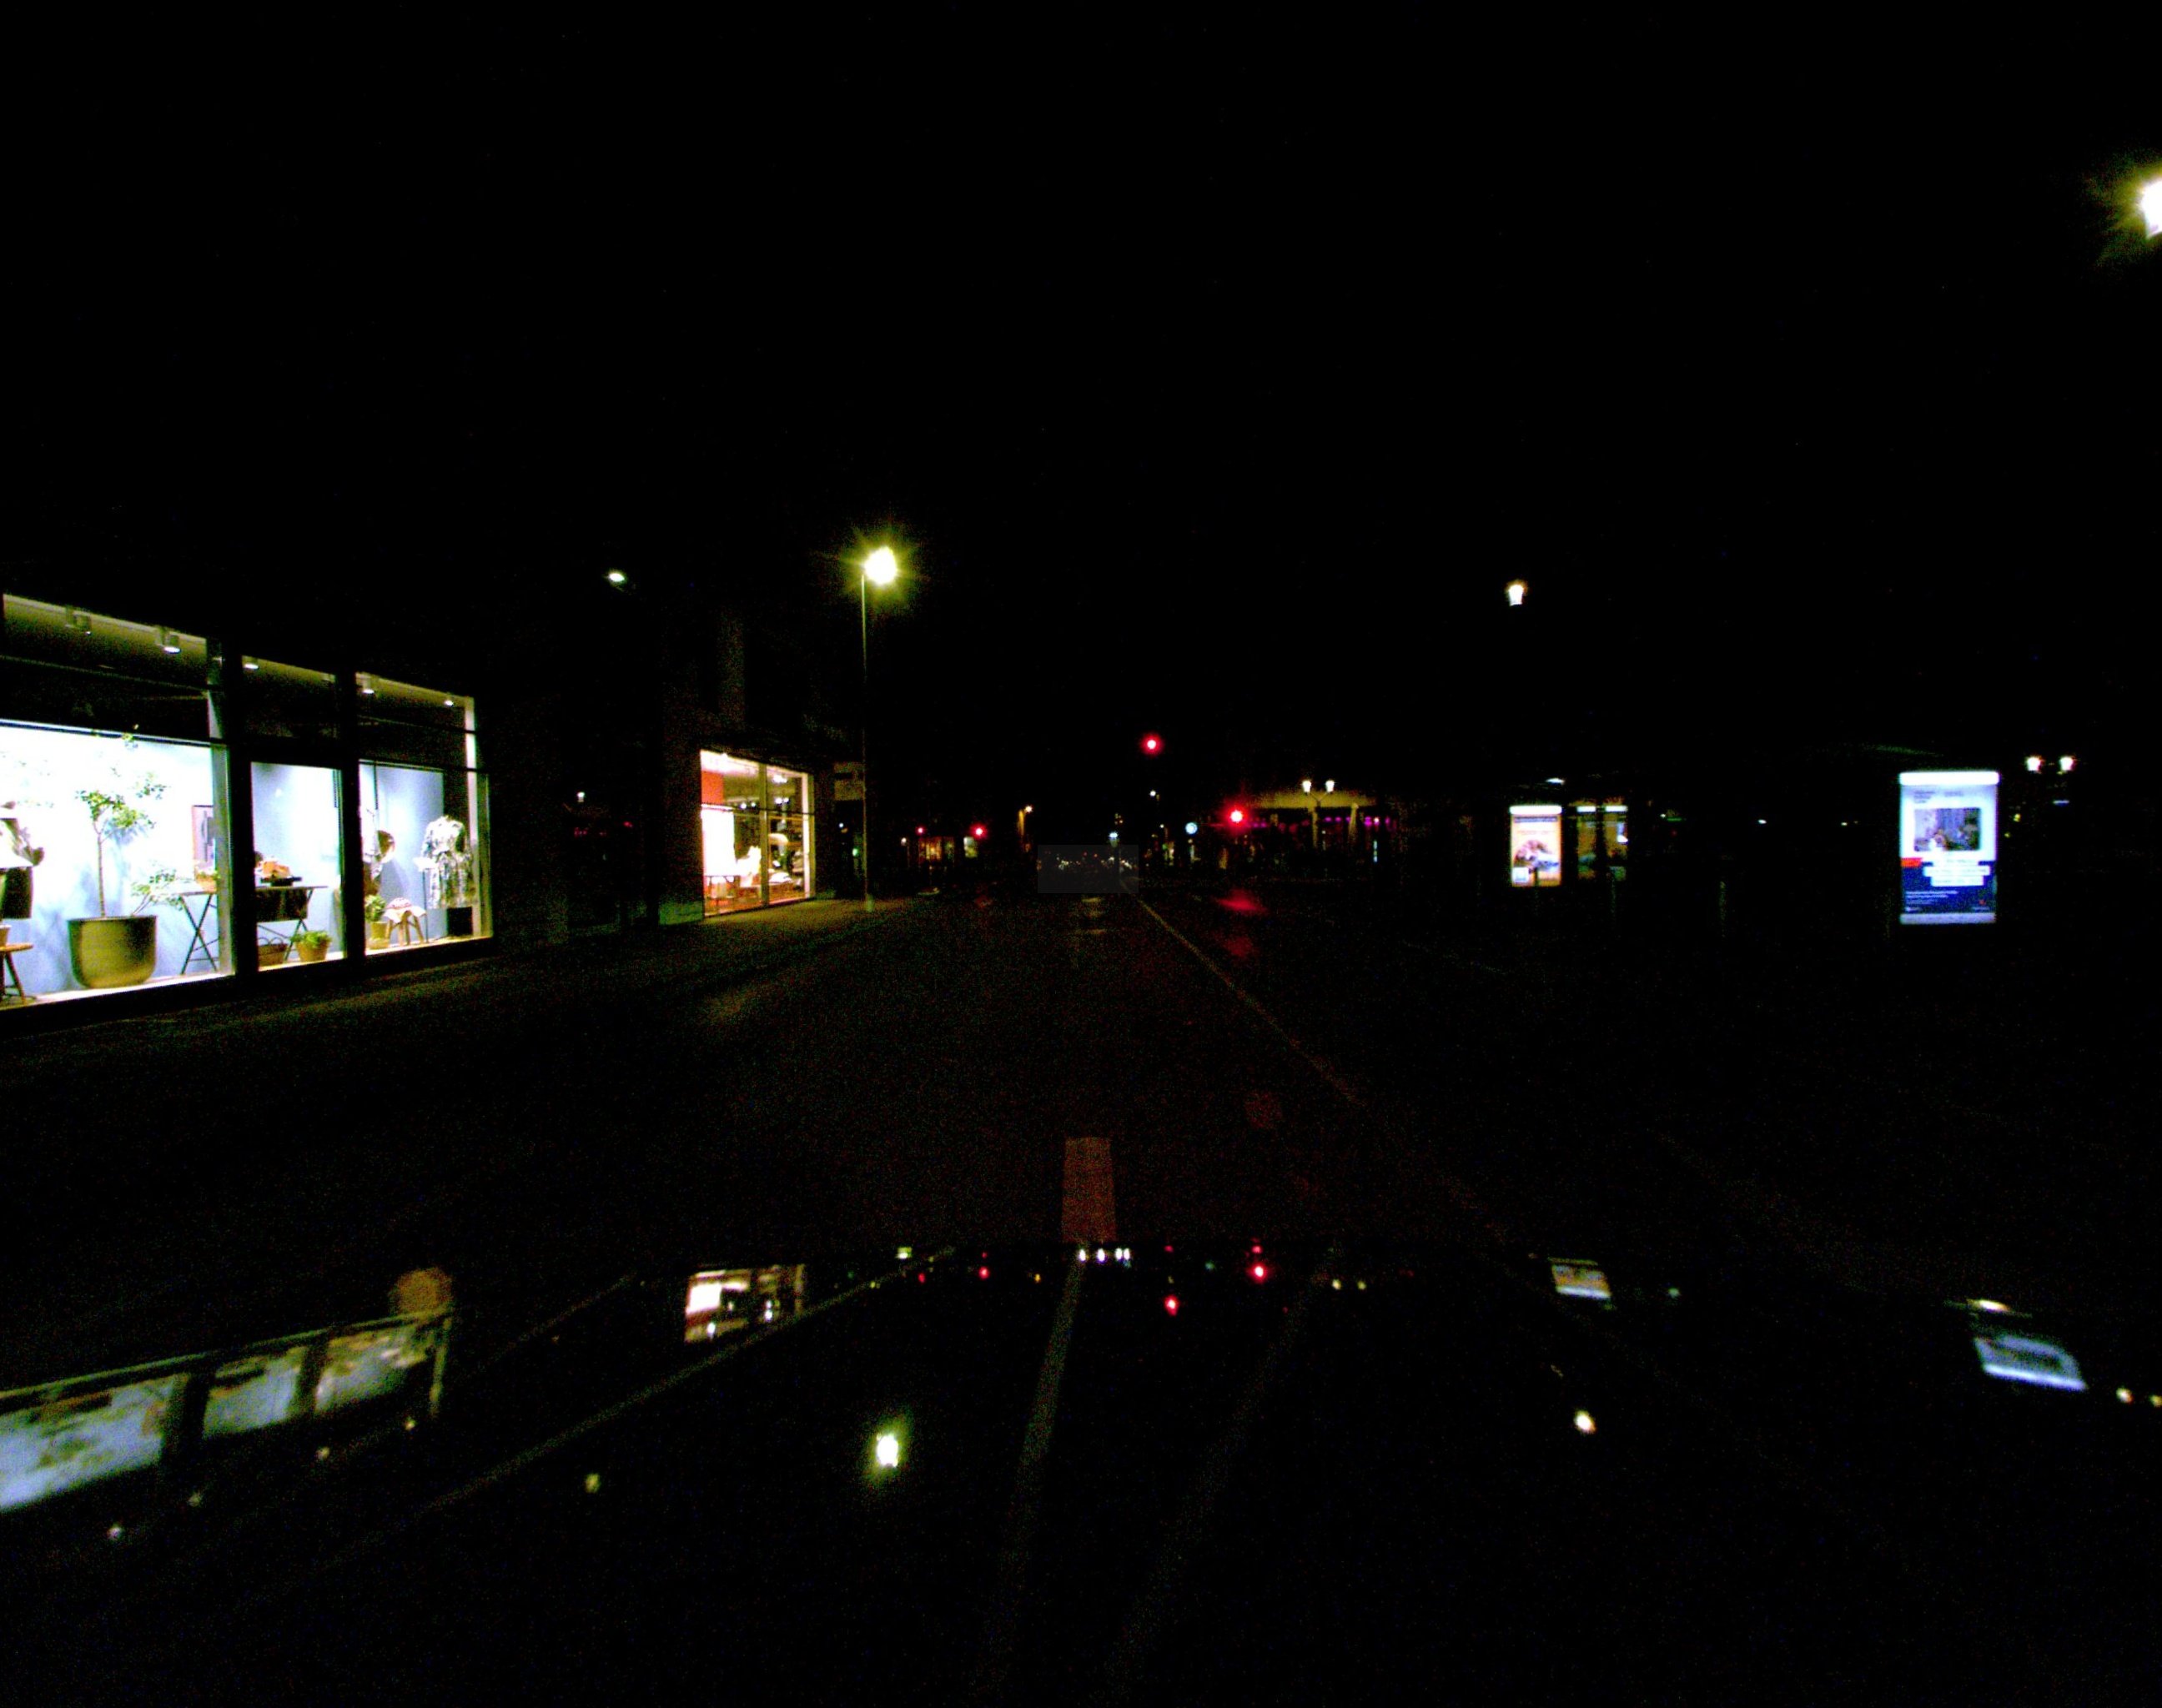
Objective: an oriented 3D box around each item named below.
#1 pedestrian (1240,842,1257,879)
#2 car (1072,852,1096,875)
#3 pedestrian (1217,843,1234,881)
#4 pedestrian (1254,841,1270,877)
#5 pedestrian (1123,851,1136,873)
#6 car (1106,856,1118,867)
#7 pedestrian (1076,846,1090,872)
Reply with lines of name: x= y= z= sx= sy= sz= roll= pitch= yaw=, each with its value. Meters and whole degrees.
pedestrian: x=7.732 y=0.277 z=35.036 sx=0.582 sy=1.672 sz=0.648 roll=-2 pitch=1 yaw=23
car: x=0.269 y=0.701 z=60.255 sx=1.713 sy=1.660 sz=3.738 roll=-2 pitch=1 yaw=3
pedestrian: x=6.367 y=0.344 z=33.449 sx=0.539 sy=1.672 sz=0.648 roll=-2 pitch=1 yaw=23
pedestrian: x=8.318 y=0.228 z=34.856 sx=0.582 sy=1.619 sz=0.648 roll=-2 pitch=1 yaw=23
pedestrian: x=3.390 y=0.558 z=52.699 sx=0.828 sy=1.487 sz=0.648 roll=0 pitch=1 yaw=10
car: x=5.608 y=1.358 z=137.736 sx=1.879 sy=1.718 sz=3.999 roll=-2 pitch=1 yaw=1
pedestrian: x=0.113 y=0.353 z=51.016 sx=0.877 sy=1.723 sz=0.647 roll=0 pitch=1 yaw=4
